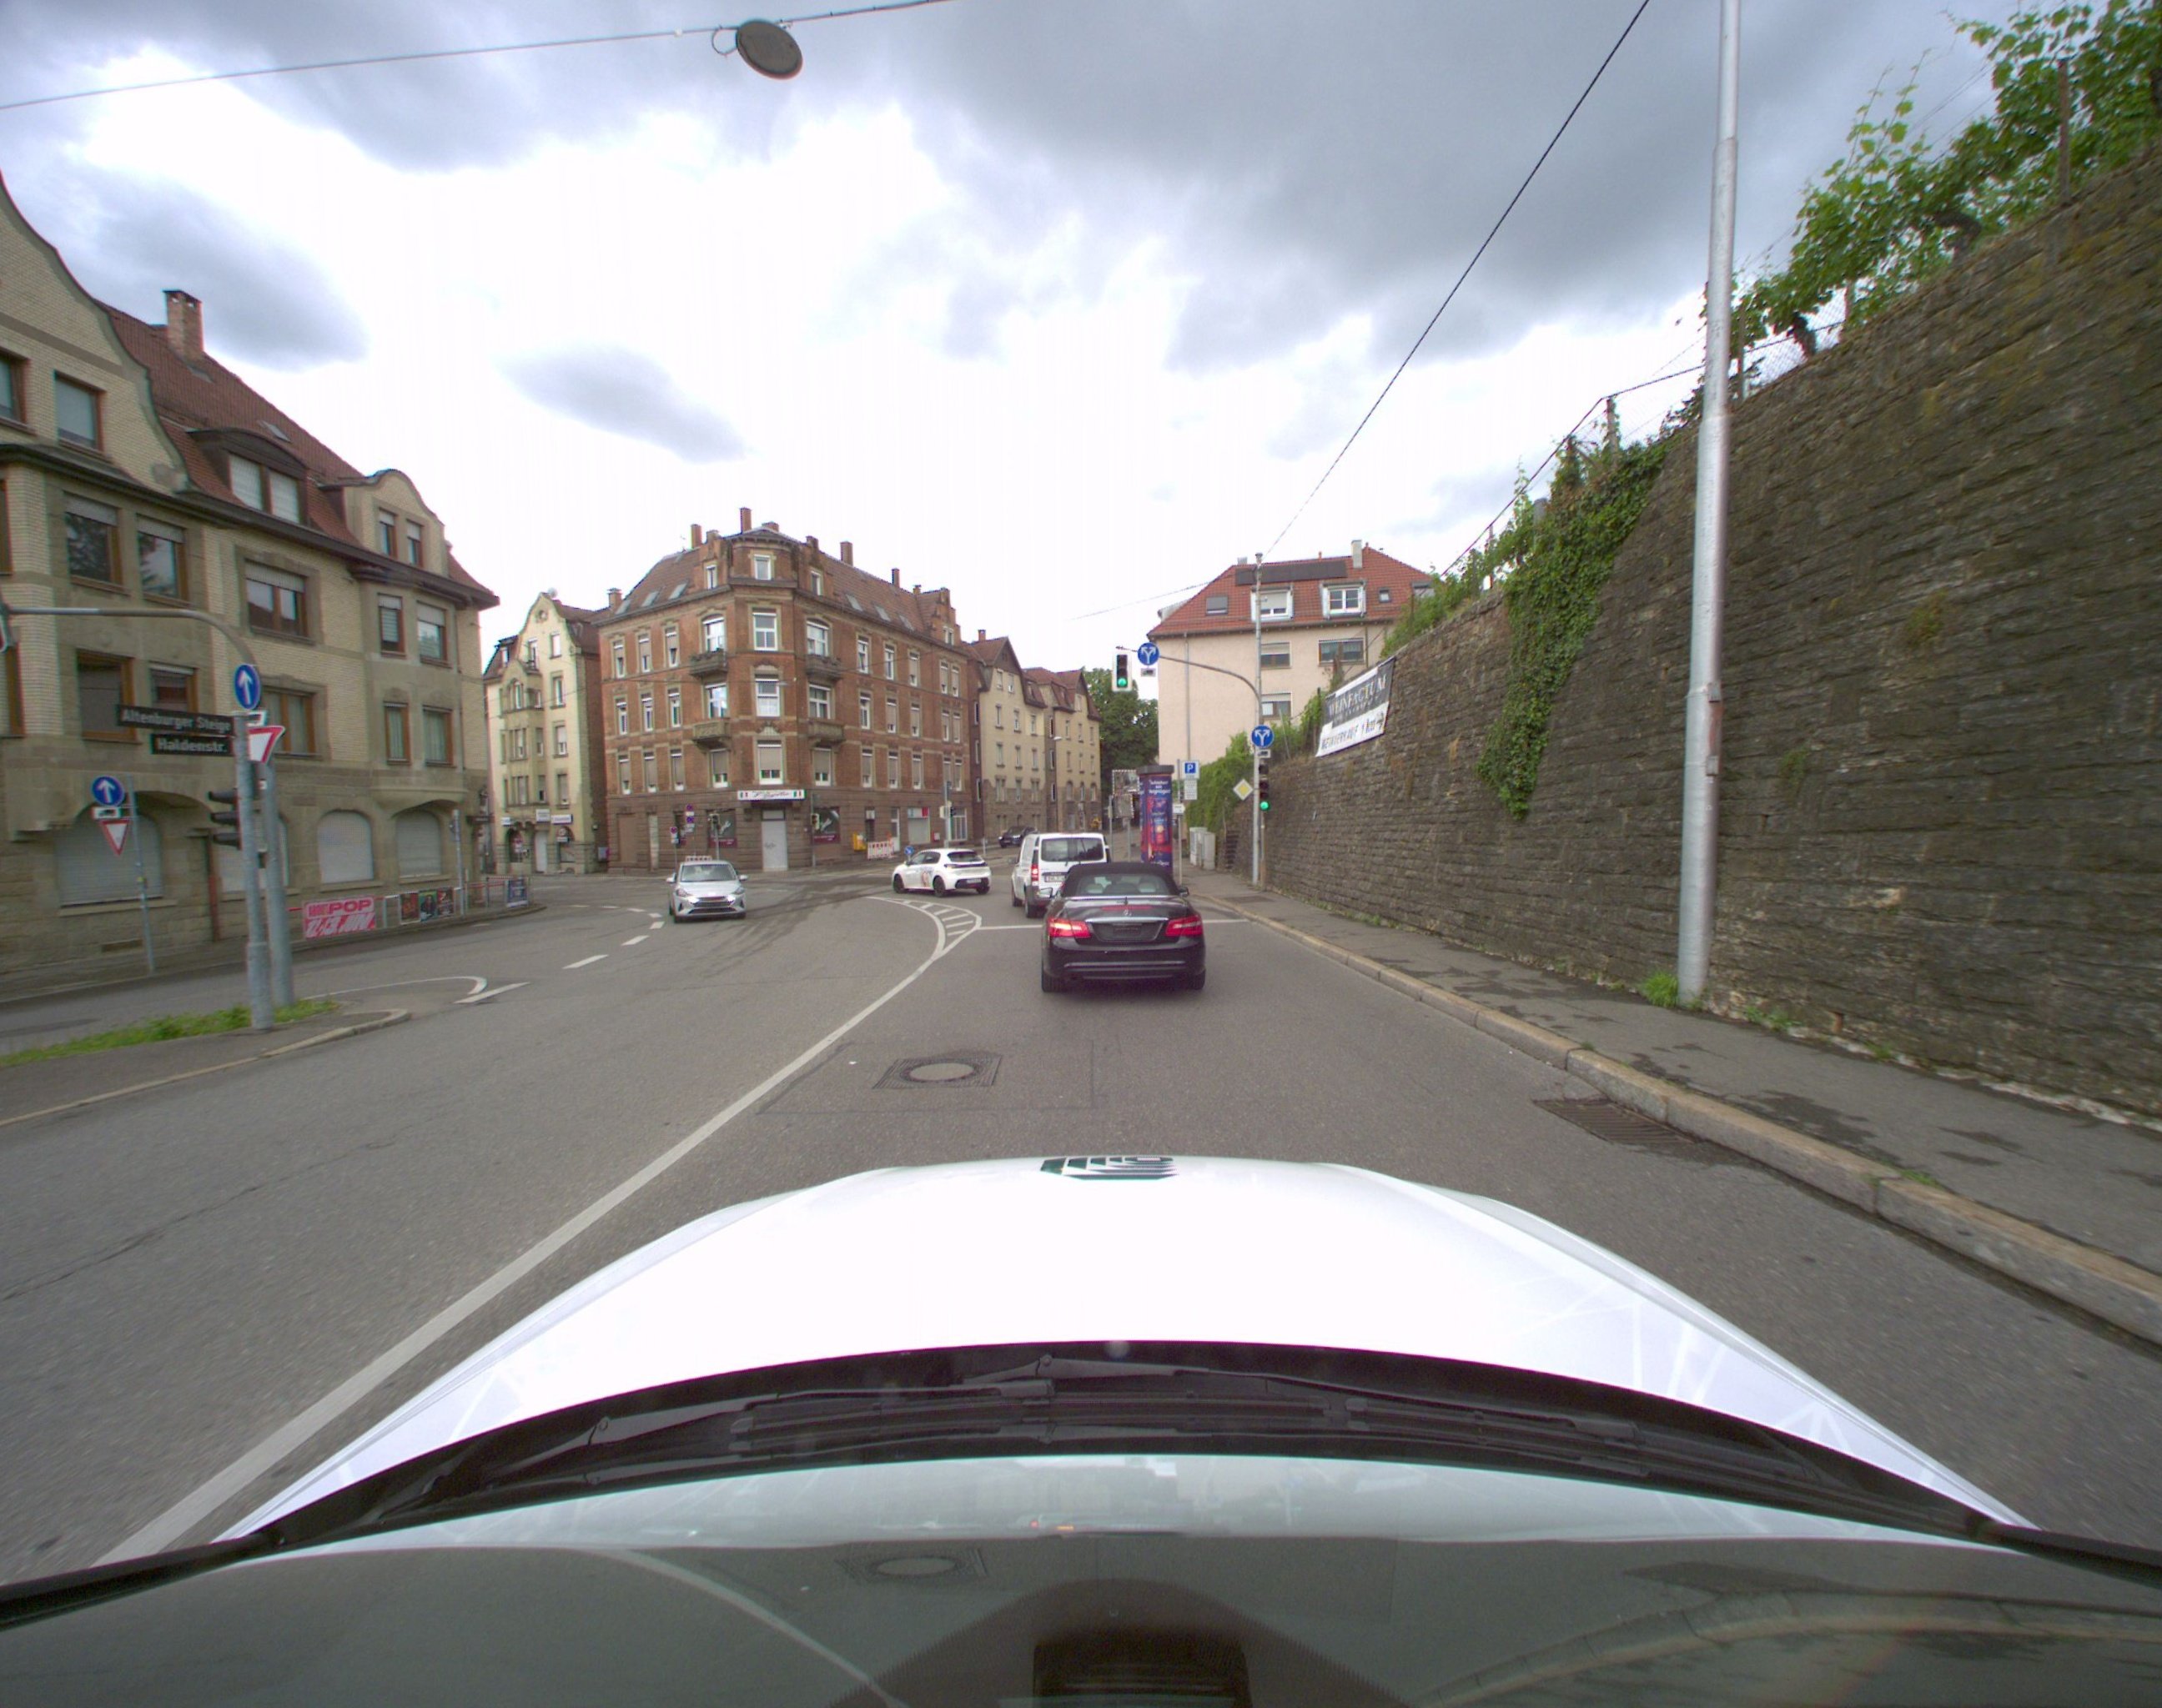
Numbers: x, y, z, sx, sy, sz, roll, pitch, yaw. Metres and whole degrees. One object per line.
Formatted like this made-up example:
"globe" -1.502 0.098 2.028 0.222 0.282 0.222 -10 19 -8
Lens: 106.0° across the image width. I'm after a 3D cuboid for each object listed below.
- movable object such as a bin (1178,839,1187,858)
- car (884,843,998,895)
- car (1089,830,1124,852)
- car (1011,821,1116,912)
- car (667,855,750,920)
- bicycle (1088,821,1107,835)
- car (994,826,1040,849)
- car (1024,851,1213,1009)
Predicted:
"movable object such as a bin" 5.087 -0.287 40.823 0.343 0.911 0.494 -1 0 -4
"car" -4.515 0.507 25.950 1.696 1.466 3.871 -4 1 -42
"car" 2.352 -1.202 73.644 1.933 1.718 4.021 -3 2 20
"car" -0.558 0.306 19.622 1.891 1.929 4.630 0 -1 -9
"car" -9.846 0.829 21.394 1.679 1.467 3.610 -3 0 -28
"bicycle" 1.717 -2.756 85.601 0.625 1.306 2.616 -4 2 33
"car" -4.928 -1.311 63.251 1.978 1.514 4.307 -3 3 17
"car" 0.441 0.736 10.126 1.755 1.409 4.401 -3 0 2
